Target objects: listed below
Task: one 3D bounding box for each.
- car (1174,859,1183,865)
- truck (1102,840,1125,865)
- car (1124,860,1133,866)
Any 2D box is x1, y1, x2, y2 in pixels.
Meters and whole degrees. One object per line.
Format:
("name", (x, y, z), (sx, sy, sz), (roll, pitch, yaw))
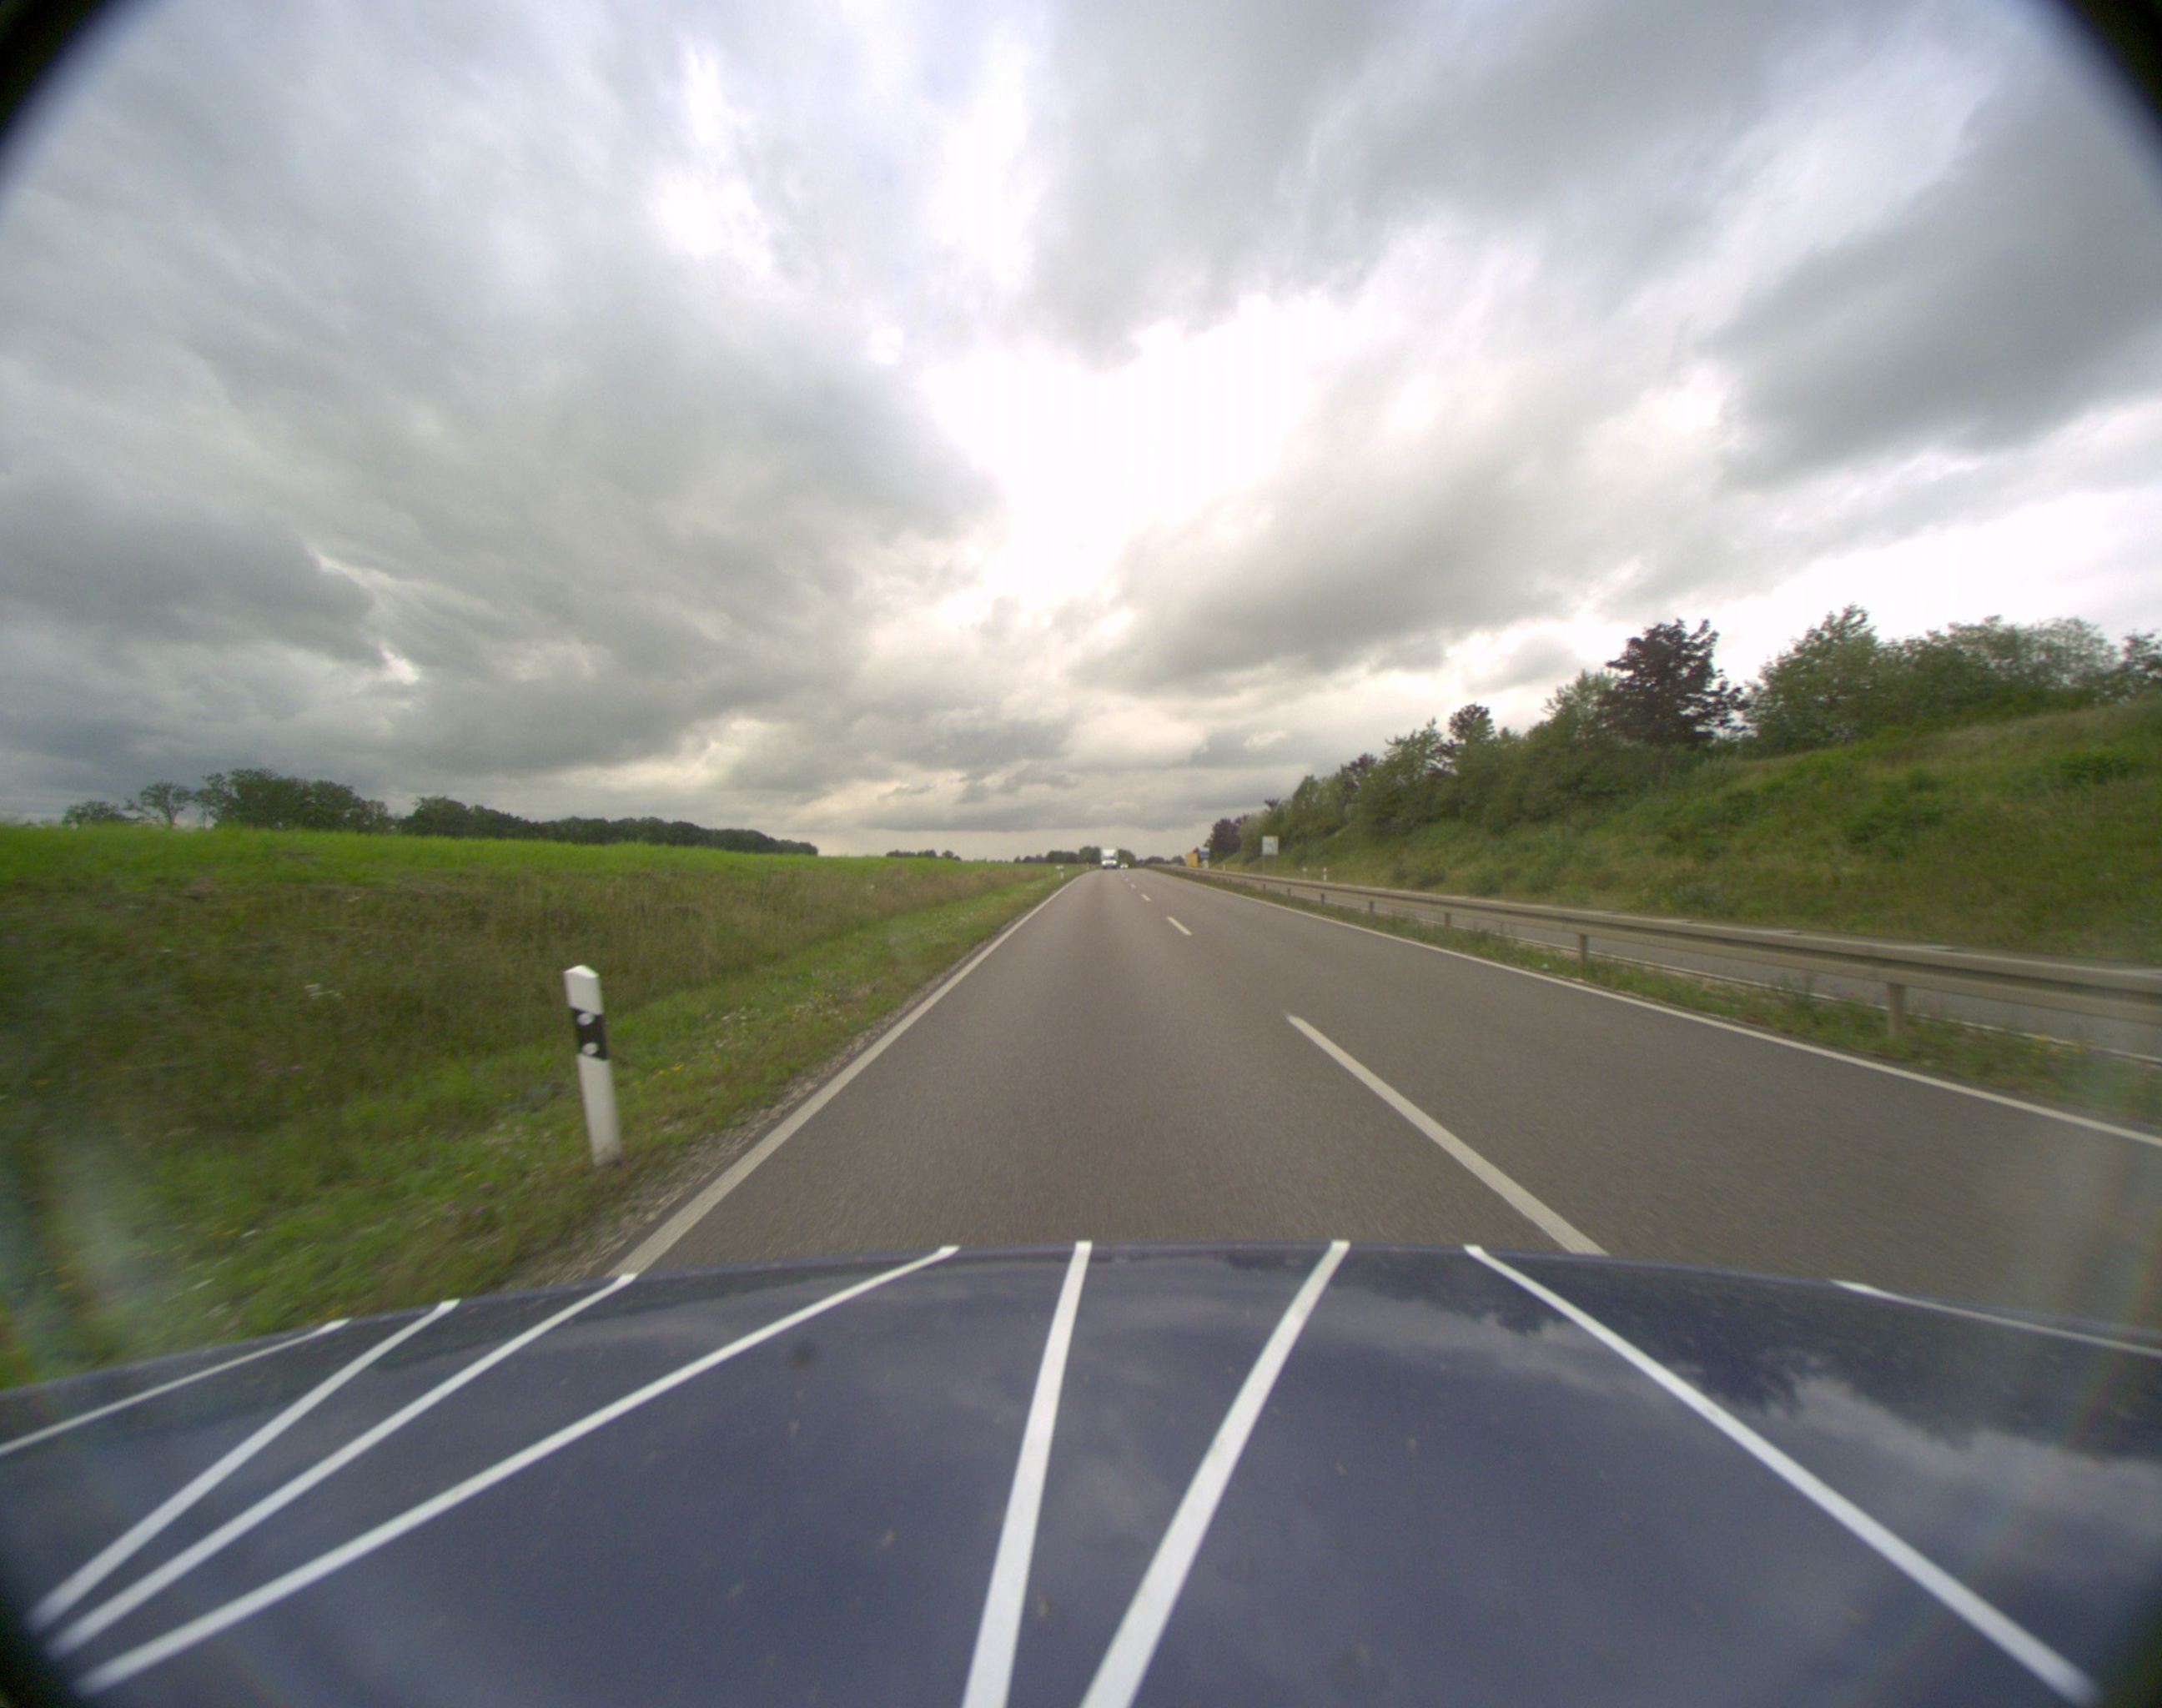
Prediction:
("car", (24.722, 1.999, 193.582), (1.925, 1.508, 4.465), (0, -2, 2))
("truck", (5.168, -0.112, 120.300), (2.933, 3.651, 8.450), (0, -2, 7))
("car", (12.658, 2.347, 203.544), (2.090, 1.509, 4.197), (0, -2, 7))
